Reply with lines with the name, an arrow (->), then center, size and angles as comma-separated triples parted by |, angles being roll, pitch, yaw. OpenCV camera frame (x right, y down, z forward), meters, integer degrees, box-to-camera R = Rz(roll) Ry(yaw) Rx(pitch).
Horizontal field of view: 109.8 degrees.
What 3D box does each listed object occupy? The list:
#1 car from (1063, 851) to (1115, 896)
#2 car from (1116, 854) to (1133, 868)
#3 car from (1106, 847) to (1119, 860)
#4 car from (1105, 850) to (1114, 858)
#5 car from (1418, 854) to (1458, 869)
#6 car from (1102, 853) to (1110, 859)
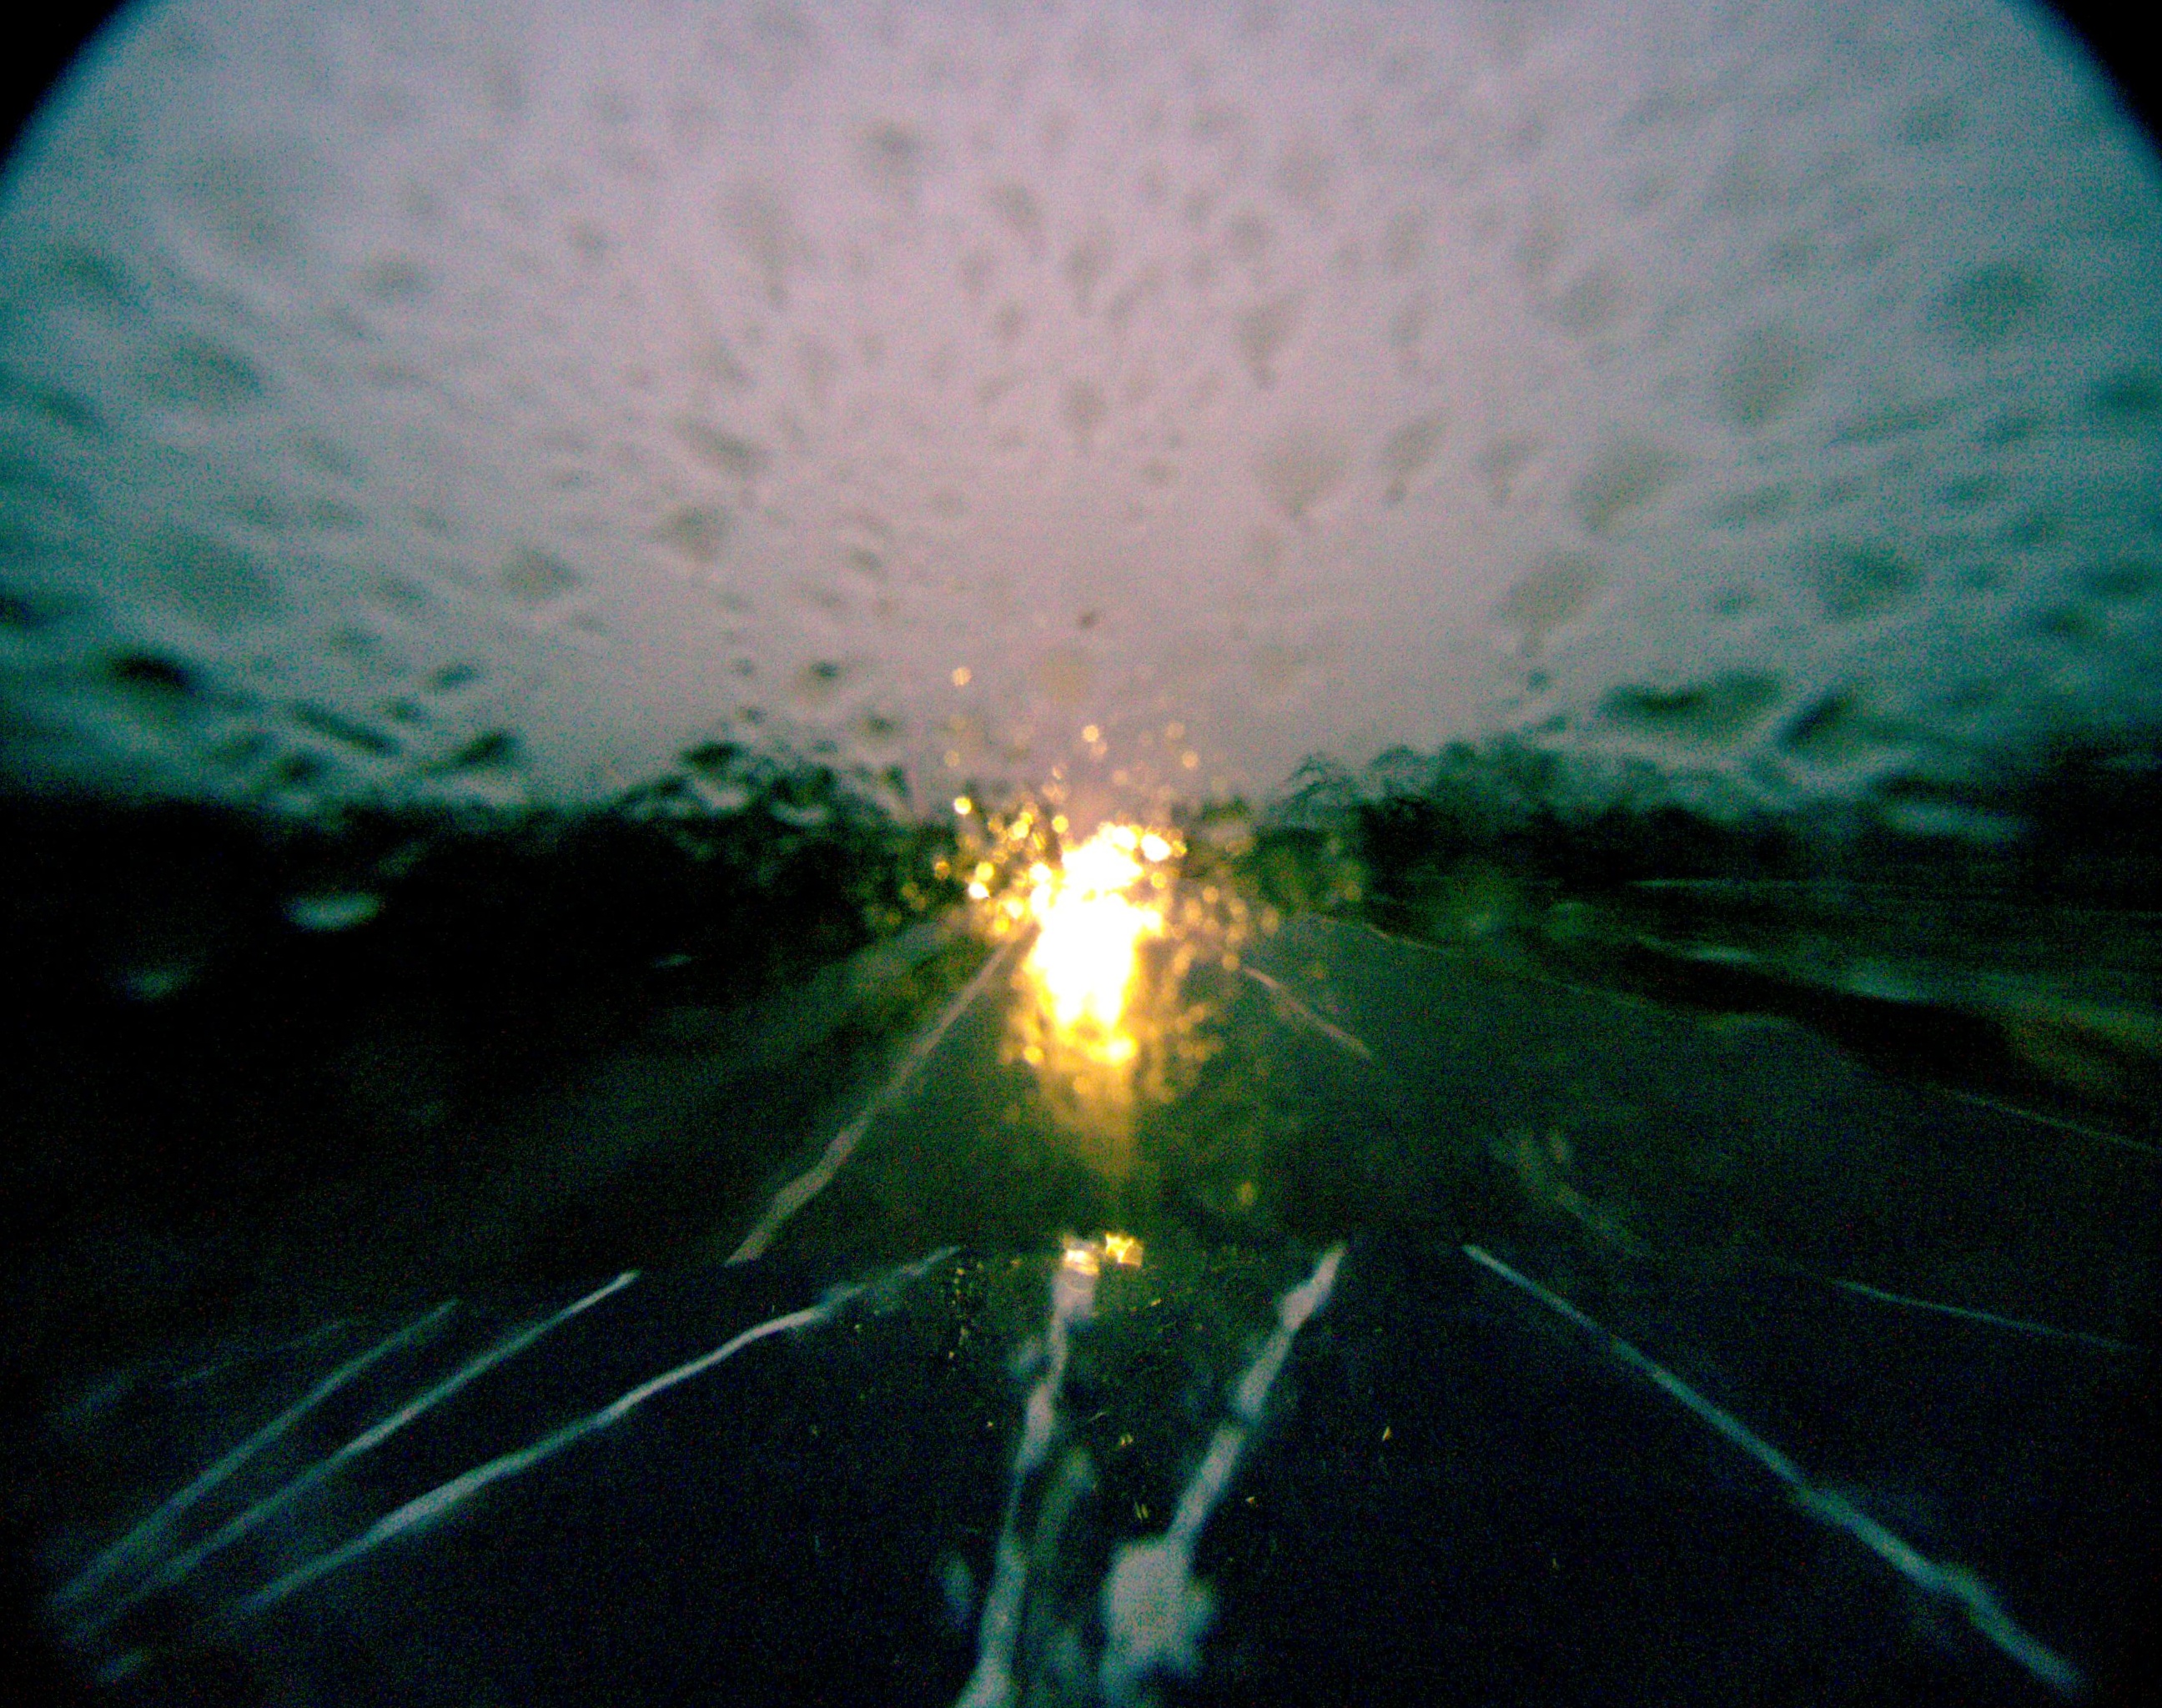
car -> 0.312, 0.701, 29.617 | 1.860, 1.604, 4.000 | -1, 0, 1
car -> 4.700, 0.709, 82.531 | 1.692, 1.471, 3.773 | 0, 0, 1
car -> 4.691, -0.081, 113.807 | 1.829, 1.796, 4.493 | 0, 0, 0
car -> 6.245, -0.010, 167.202 | 1.766, 1.546, 4.000 | 0, 0, 1
car -> 36.277, 0.772, 77.253 | 3.453, 1.334, 1.597 | -2, 1, -13
car -> 6.921, 0.537, 211.470 | 1.860, 1.508, 4.515 | 1, 0, -2
